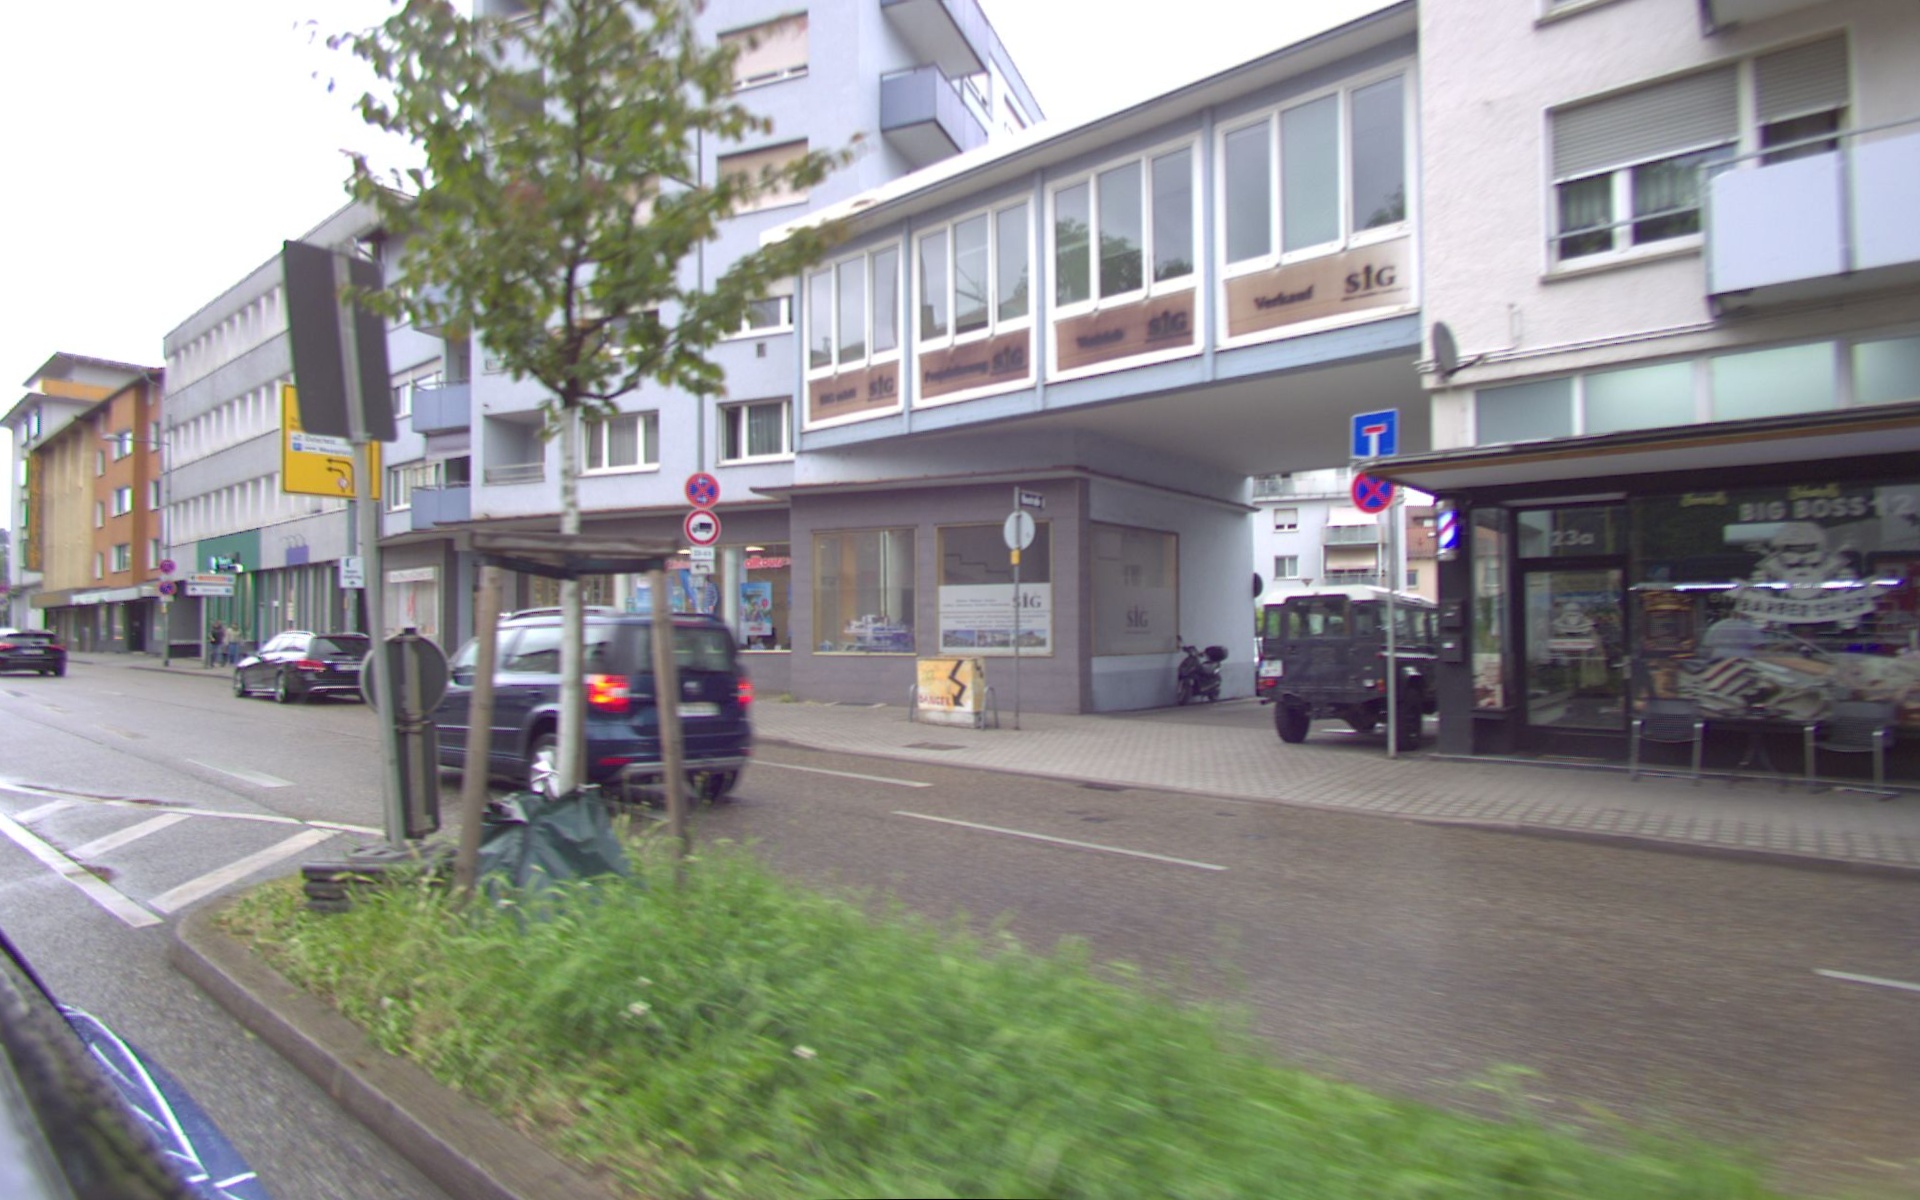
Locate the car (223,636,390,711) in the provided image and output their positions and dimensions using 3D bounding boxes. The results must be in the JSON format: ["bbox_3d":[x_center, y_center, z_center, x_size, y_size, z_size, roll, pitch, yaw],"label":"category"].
[{"bbox_3d":[-14.338,1.559,22.094,4.825,1.479,1.690,-2,-5,40],"label":"car"}]

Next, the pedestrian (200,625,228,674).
[{"bbox_3d":[-28.142,1.859,38.184,0.826,1.802,0.569,-2,2,40],"label":"pedestrian"}]

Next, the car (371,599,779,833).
[{"bbox_3d":[-3.640,0.920,9.235,4.093,1.674,1.666,-2,-4,40],"label":"car"}]

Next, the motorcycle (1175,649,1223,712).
[{"bbox_3d":[4.750,1.573,20.045,0.387,1.187,1.348,-2,-3,38],"label":"motorcycle"}]

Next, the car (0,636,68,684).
[{"bbox_3d":[-29.542,1.858,31.698,4.161,1.434,1.703,-2,-5,40],"label":"car"}]

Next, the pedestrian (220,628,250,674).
[{"bbox_3d":[-27.652,1.916,38.580,0.907,1.688,0.624,-2,2,39],"label":"pedestrian"}]

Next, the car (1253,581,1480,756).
[{"bbox_3d":[5.656,0.867,13.841,1.580,2.050,3.920,-2,-3,43],"label":"car"}]
